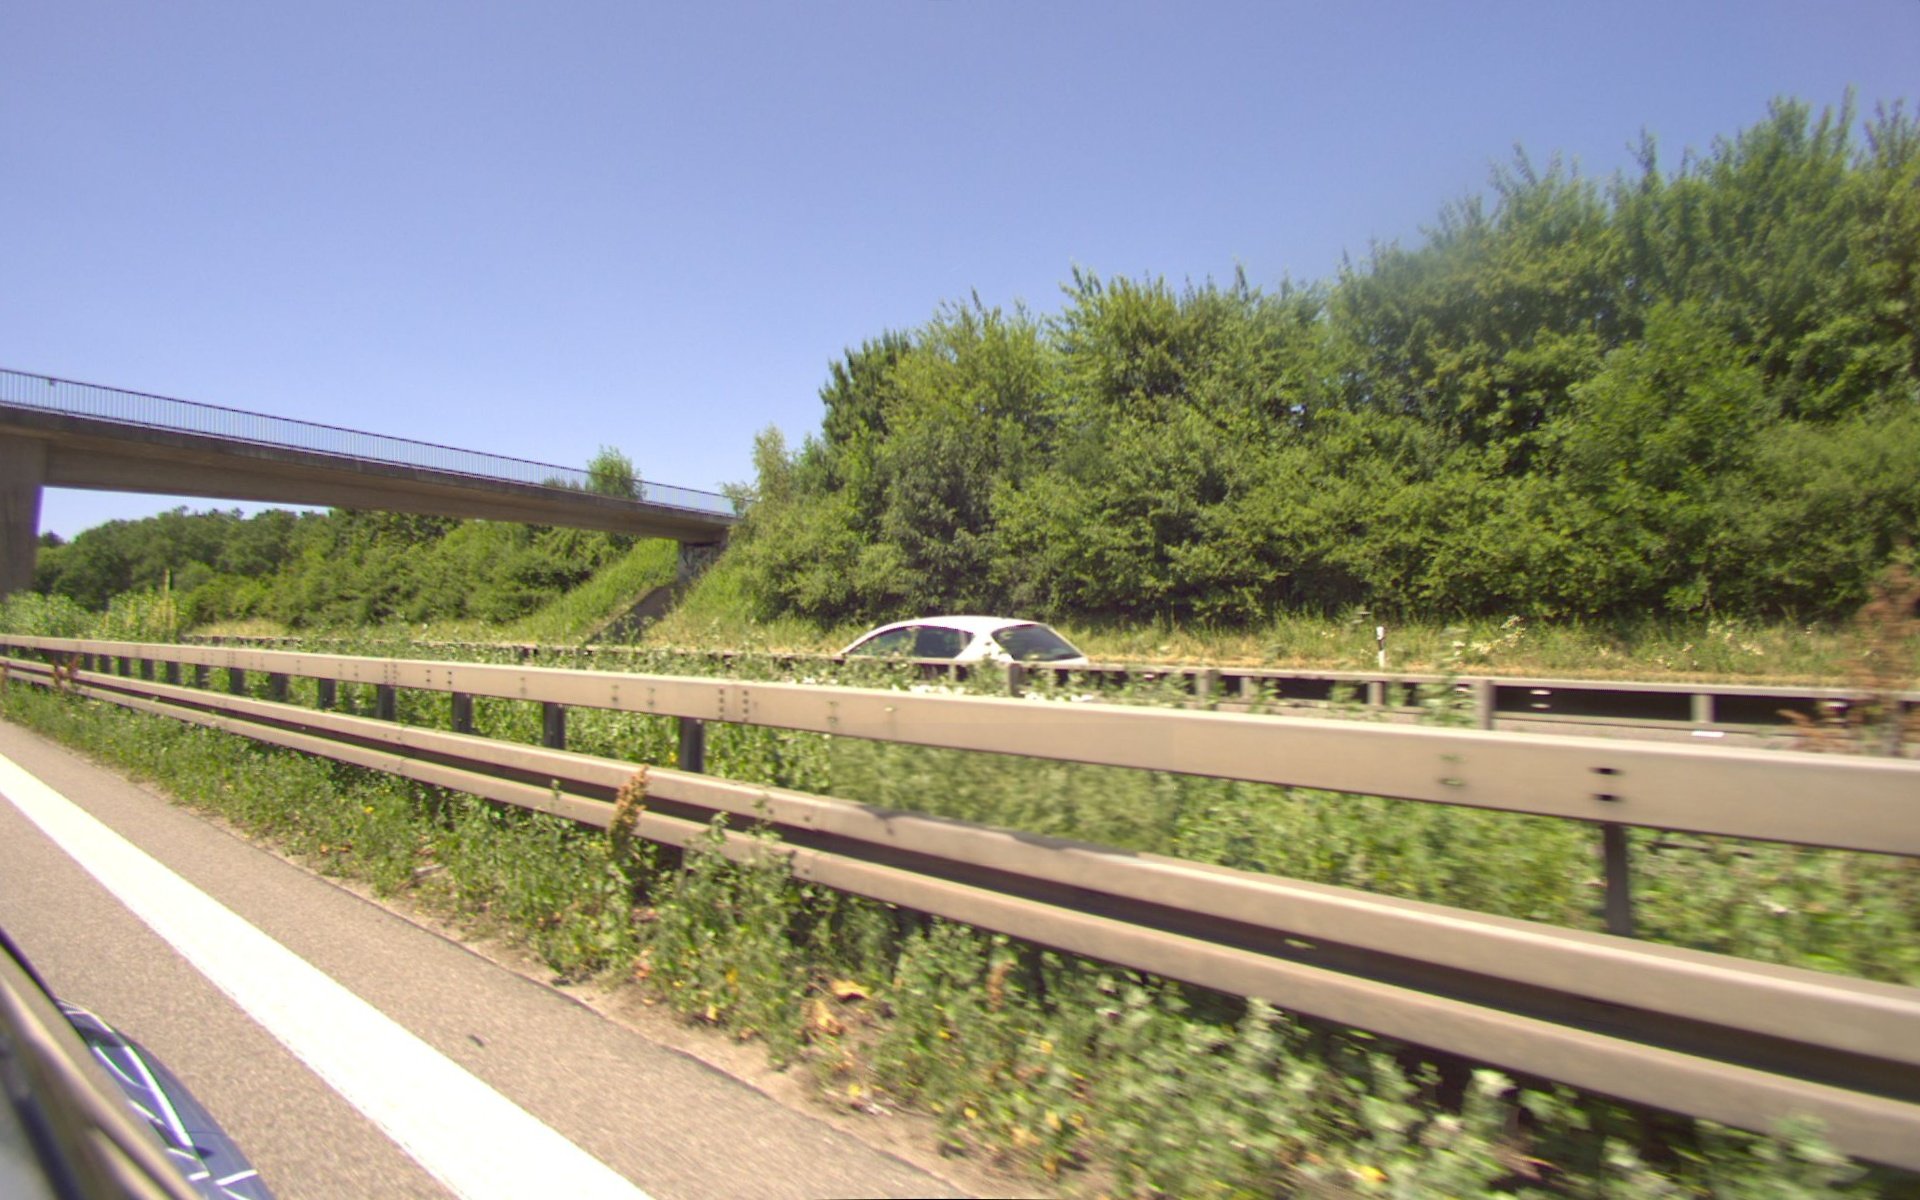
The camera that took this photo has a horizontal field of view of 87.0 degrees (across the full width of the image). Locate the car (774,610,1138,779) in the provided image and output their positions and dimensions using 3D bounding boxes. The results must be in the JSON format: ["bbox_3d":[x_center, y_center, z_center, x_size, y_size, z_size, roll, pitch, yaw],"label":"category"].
[{"bbox_3d":[-0.168,0.932,11.021,3.857,1.500,1.607,-3,-2,41],"label":"car"}]
